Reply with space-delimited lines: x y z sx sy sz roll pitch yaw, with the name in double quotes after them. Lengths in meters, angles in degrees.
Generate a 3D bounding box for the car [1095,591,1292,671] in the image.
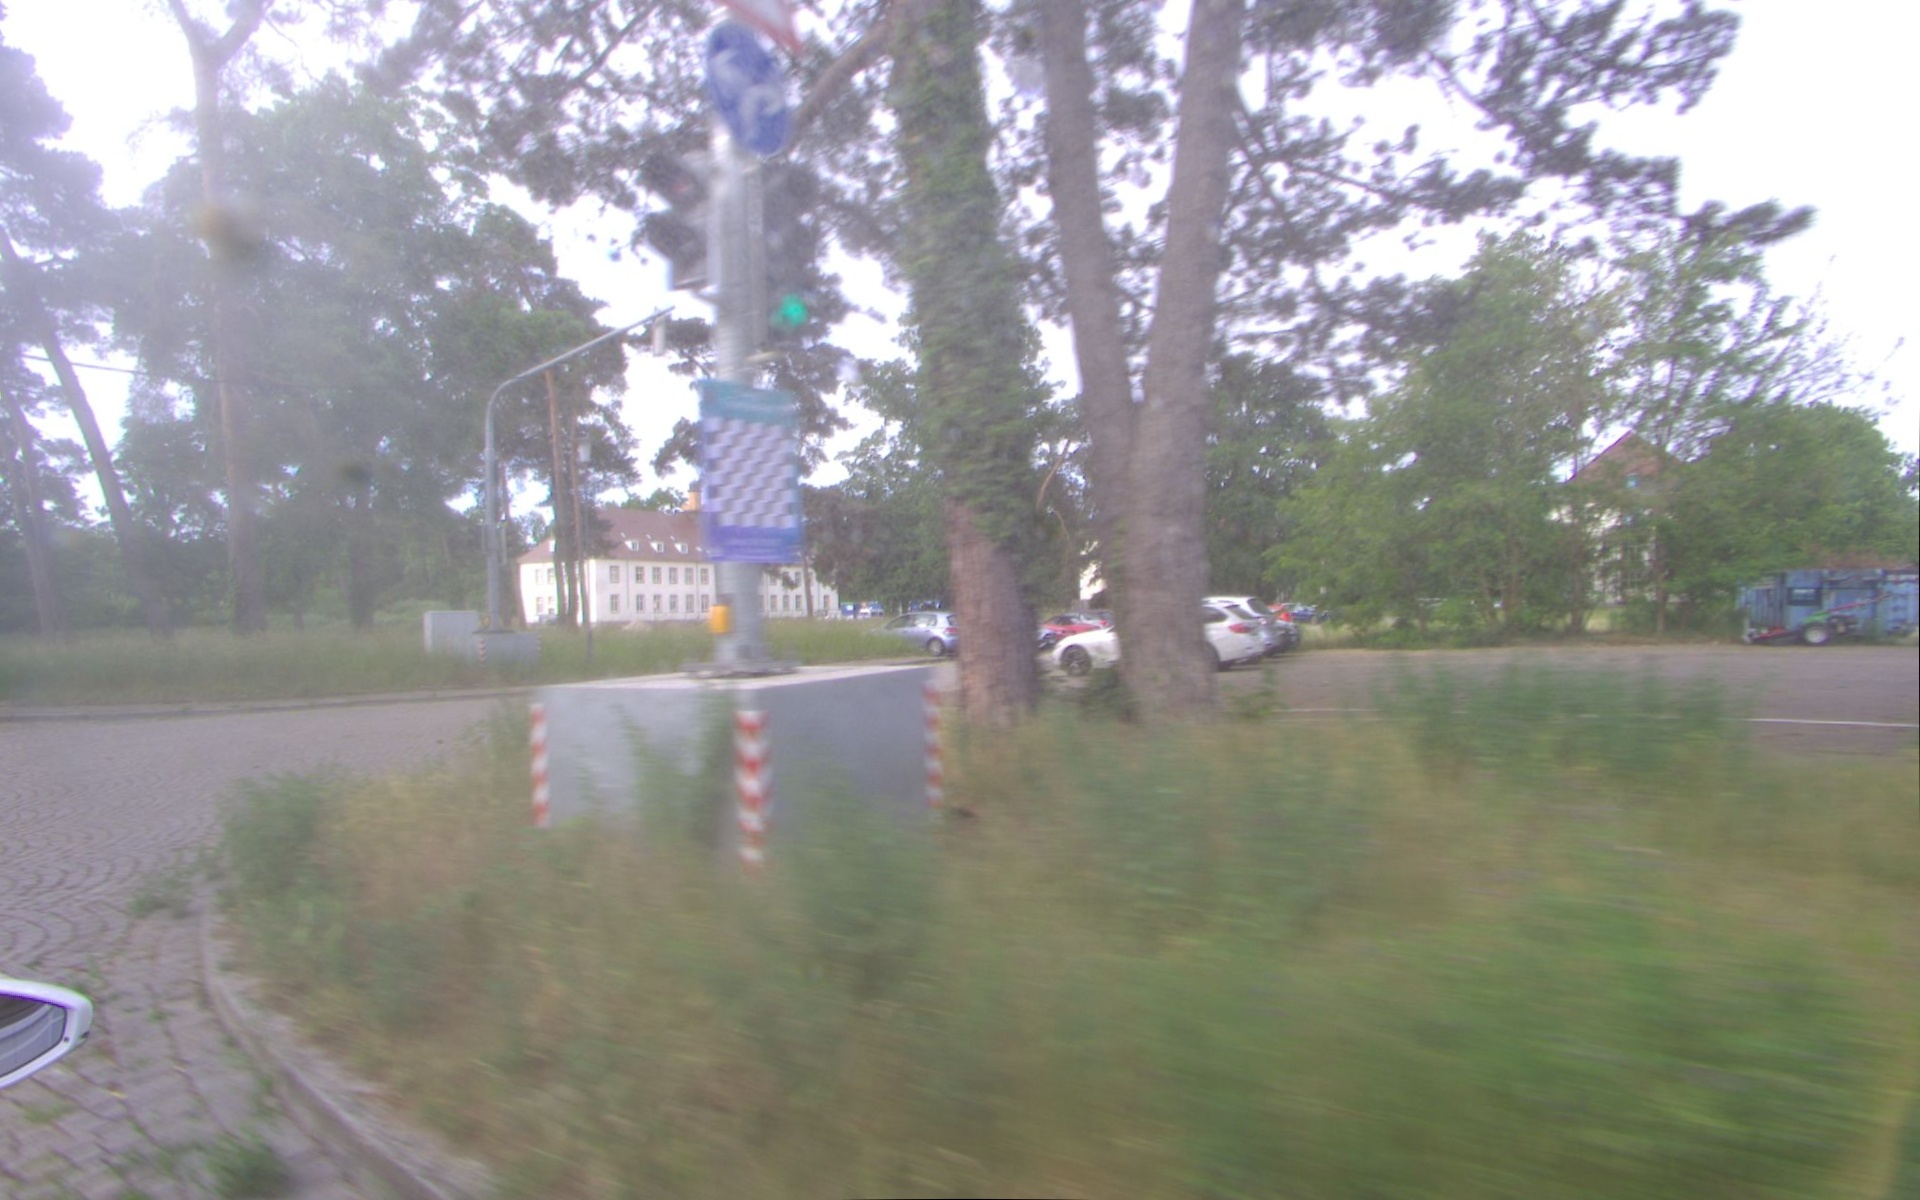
5.522 0.756 23.788 4.182 1.625 1.779 -4 -2 30 "car"

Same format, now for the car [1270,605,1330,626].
26.618 1.227 78.402 4.184 1.541 1.730 -1 -1 33 "car"

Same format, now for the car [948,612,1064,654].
1.703 1.235 37.973 4.191 1.487 1.727 -1 -1 38 "car"

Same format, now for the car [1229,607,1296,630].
21.070 1.271 69.809 4.184 1.541 1.730 -1 -1 33 "car"

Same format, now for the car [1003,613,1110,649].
4.021 1.281 42.064 4.191 1.408 1.727 -1 -1 38 "car"

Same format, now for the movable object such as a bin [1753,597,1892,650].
19.424 0.544 22.620 2.177 1.149 0.960 -1 -2 24 "movable object such as a bin"

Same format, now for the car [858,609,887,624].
-11.796 2.232 135.414 1.900 1.929 4.056 -1 -2 30 "car"

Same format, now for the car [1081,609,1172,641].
8.171 1.235 49.253 4.191 1.521 1.610 -1 -1 38 "car"

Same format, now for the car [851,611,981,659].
-1.510 1.152 33.637 4.185 1.528 1.729 -1 -1 34 "car"

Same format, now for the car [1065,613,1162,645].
7.091 1.341 46.526 4.191 1.408 1.727 -1 -1 38 "car"

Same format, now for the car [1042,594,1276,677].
4.221 0.808 21.487 4.543 1.504 1.846 -4 -3 30 "car"

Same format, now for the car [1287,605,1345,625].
29.160 1.221 82.005 4.184 1.541 1.730 -1 -1 33 "car"

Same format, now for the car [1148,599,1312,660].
7.709 0.851 28.761 4.188 1.504 1.696 -4 -2 34 "car"

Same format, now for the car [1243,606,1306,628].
23.229 1.277 74.039 4.184 1.541 1.730 -1 -1 33 "car"

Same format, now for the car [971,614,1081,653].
2.603 1.309 40.213 4.191 1.487 1.727 -1 -1 38 "car"

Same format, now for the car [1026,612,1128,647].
5.162 1.299 44.445 4.191 1.492 1.727 -1 -1 38 "car"

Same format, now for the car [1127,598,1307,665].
6.664 0.835 26.178 4.188 1.504 1.696 -4 -2 34 "car"

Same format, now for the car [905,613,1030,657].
0.234 1.226 35.639 4.185 1.487 1.729 -1 -1 34 "car"
